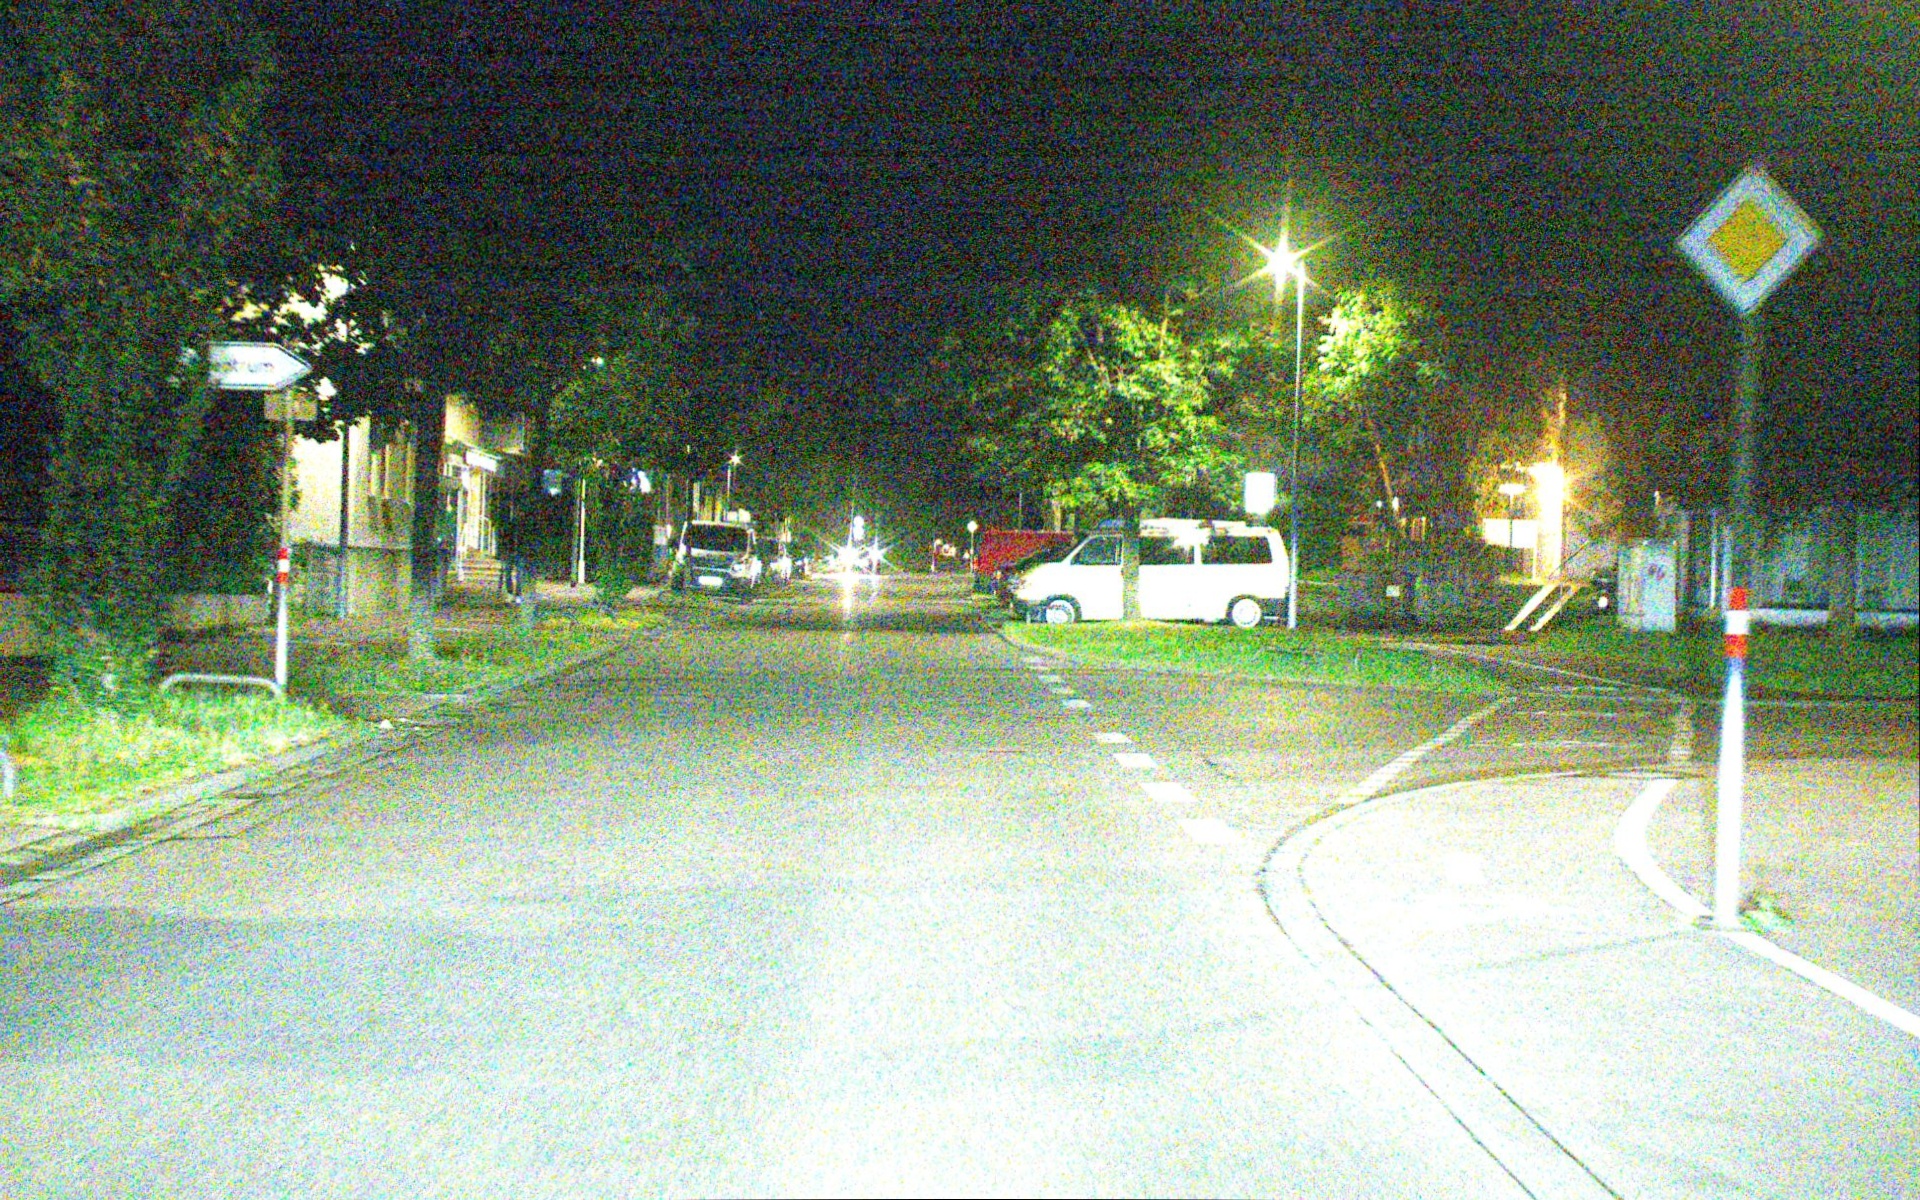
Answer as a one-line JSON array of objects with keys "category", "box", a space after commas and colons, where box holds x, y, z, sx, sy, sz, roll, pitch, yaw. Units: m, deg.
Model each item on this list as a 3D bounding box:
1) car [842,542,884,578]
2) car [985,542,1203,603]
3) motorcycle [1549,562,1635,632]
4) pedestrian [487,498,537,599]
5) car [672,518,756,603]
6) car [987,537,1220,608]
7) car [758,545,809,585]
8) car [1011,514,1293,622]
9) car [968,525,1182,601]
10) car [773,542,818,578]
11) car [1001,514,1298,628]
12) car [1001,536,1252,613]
[{"category": "car", "box": [-4.511, -1.858, 159.319, 1.927, 1.643, 3.822, 0, 1, -2]}, {"category": "car", "box": [3.255, -0.688, 84.166, 5.182, 1.464, 2.102, 0, 1, -2]}, {"category": "motorcycle", "box": [12.544, -0.073, 68.185, 1.071, 1.322, 2.703, 2, 2, 23]}, {"category": "pedestrian", "box": [-9.136, -1.052, 70.133, 0.785, 2.007, 1.204, 3, 1, -1]}, {"category": "car", "box": [-6.116, -0.996, 85.793, 1.824, 1.980, 4.466, 3, 1, -2]}, {"category": "car", "box": [3.251, -0.635, 78.650, 5.182, 1.588, 2.102, 0, 1, -2]}, {"category": "car", "box": [-6.070, -1.206, 118.620, 1.683, 1.326, 3.600, 1, 1, -2]}, {"category": "car", "box": [3.606, -0.619, 65.212, 5.182, 2.007, 2.102, 0, 1, -2]}, {"category": "car", "box": [2.923, -0.946, 86.879, 5.184, 1.880, 2.101, 0, 1, 9]}, {"category": "car", "box": [-6.428, -1.568, 134.508, 1.683, 1.326, 3.600, 1, 1, -2]}, {"category": "car", "box": [3.380, -0.536, 62.112, 5.182, 2.007, 2.102, 0, 1, -2]}, {"category": "car", "box": [3.507, -0.550, 73.159, 5.182, 1.588, 2.102, 0, 1, -2]}]
